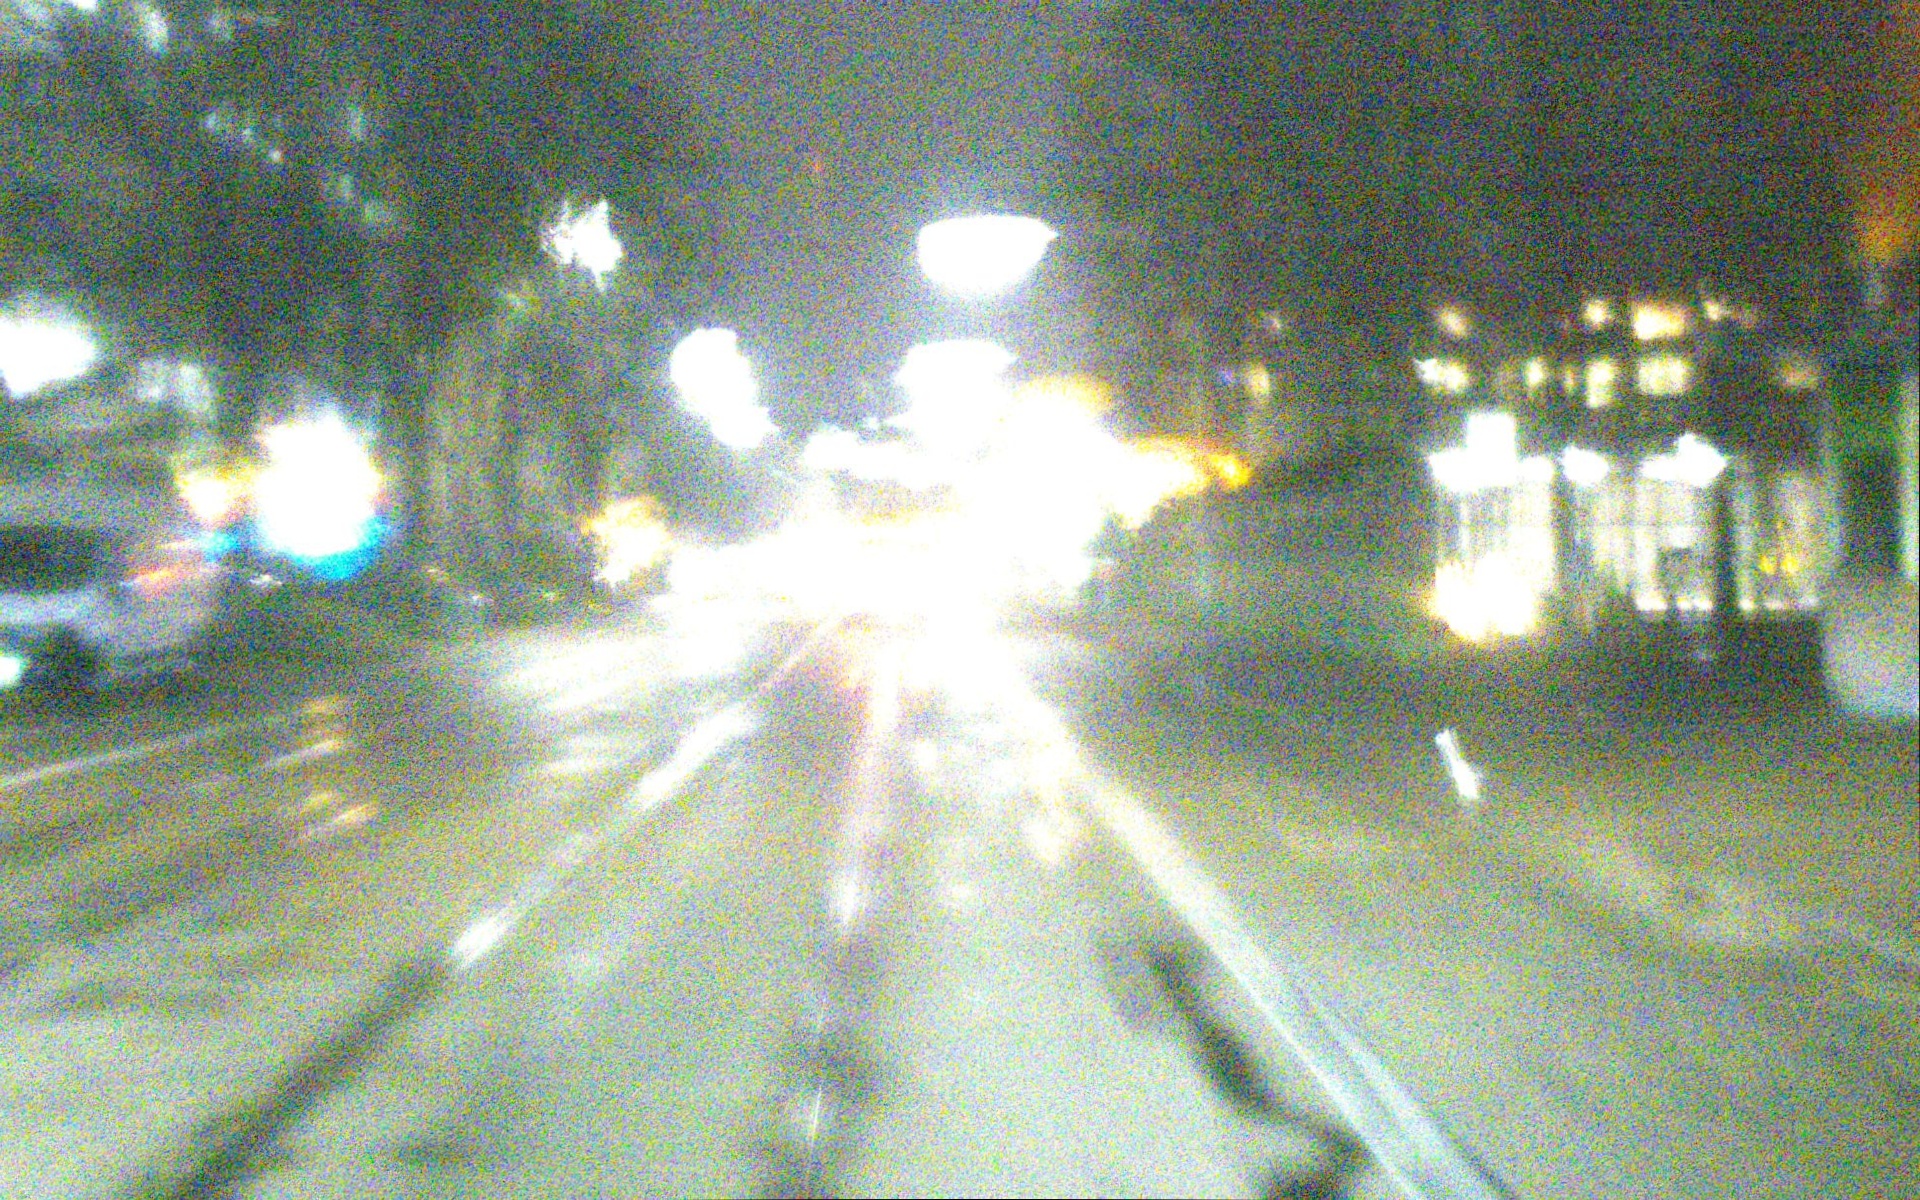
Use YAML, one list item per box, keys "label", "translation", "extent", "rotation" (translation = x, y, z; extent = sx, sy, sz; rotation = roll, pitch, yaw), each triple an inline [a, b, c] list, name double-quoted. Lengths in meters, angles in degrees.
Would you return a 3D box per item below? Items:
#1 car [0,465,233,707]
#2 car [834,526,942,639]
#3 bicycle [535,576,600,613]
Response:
- label: "car"
  translation: [-10.276, -0.221, 39.913]
  extent: [2.185, 2.583, 6.392]
  rotation: [0, 1, 1]
- label: "car"
  translation: [-1.573, -0.382, 73.636]
  extent: [2.244, 2.353, 4.394]
  rotation: [0, 0, -2]
- label: "bicycle"
  translation: [-11.580, -0.160, 101.476]
  extent: [1.853, 1.074, 0.628]
  rotation: [0, 0, -1]
